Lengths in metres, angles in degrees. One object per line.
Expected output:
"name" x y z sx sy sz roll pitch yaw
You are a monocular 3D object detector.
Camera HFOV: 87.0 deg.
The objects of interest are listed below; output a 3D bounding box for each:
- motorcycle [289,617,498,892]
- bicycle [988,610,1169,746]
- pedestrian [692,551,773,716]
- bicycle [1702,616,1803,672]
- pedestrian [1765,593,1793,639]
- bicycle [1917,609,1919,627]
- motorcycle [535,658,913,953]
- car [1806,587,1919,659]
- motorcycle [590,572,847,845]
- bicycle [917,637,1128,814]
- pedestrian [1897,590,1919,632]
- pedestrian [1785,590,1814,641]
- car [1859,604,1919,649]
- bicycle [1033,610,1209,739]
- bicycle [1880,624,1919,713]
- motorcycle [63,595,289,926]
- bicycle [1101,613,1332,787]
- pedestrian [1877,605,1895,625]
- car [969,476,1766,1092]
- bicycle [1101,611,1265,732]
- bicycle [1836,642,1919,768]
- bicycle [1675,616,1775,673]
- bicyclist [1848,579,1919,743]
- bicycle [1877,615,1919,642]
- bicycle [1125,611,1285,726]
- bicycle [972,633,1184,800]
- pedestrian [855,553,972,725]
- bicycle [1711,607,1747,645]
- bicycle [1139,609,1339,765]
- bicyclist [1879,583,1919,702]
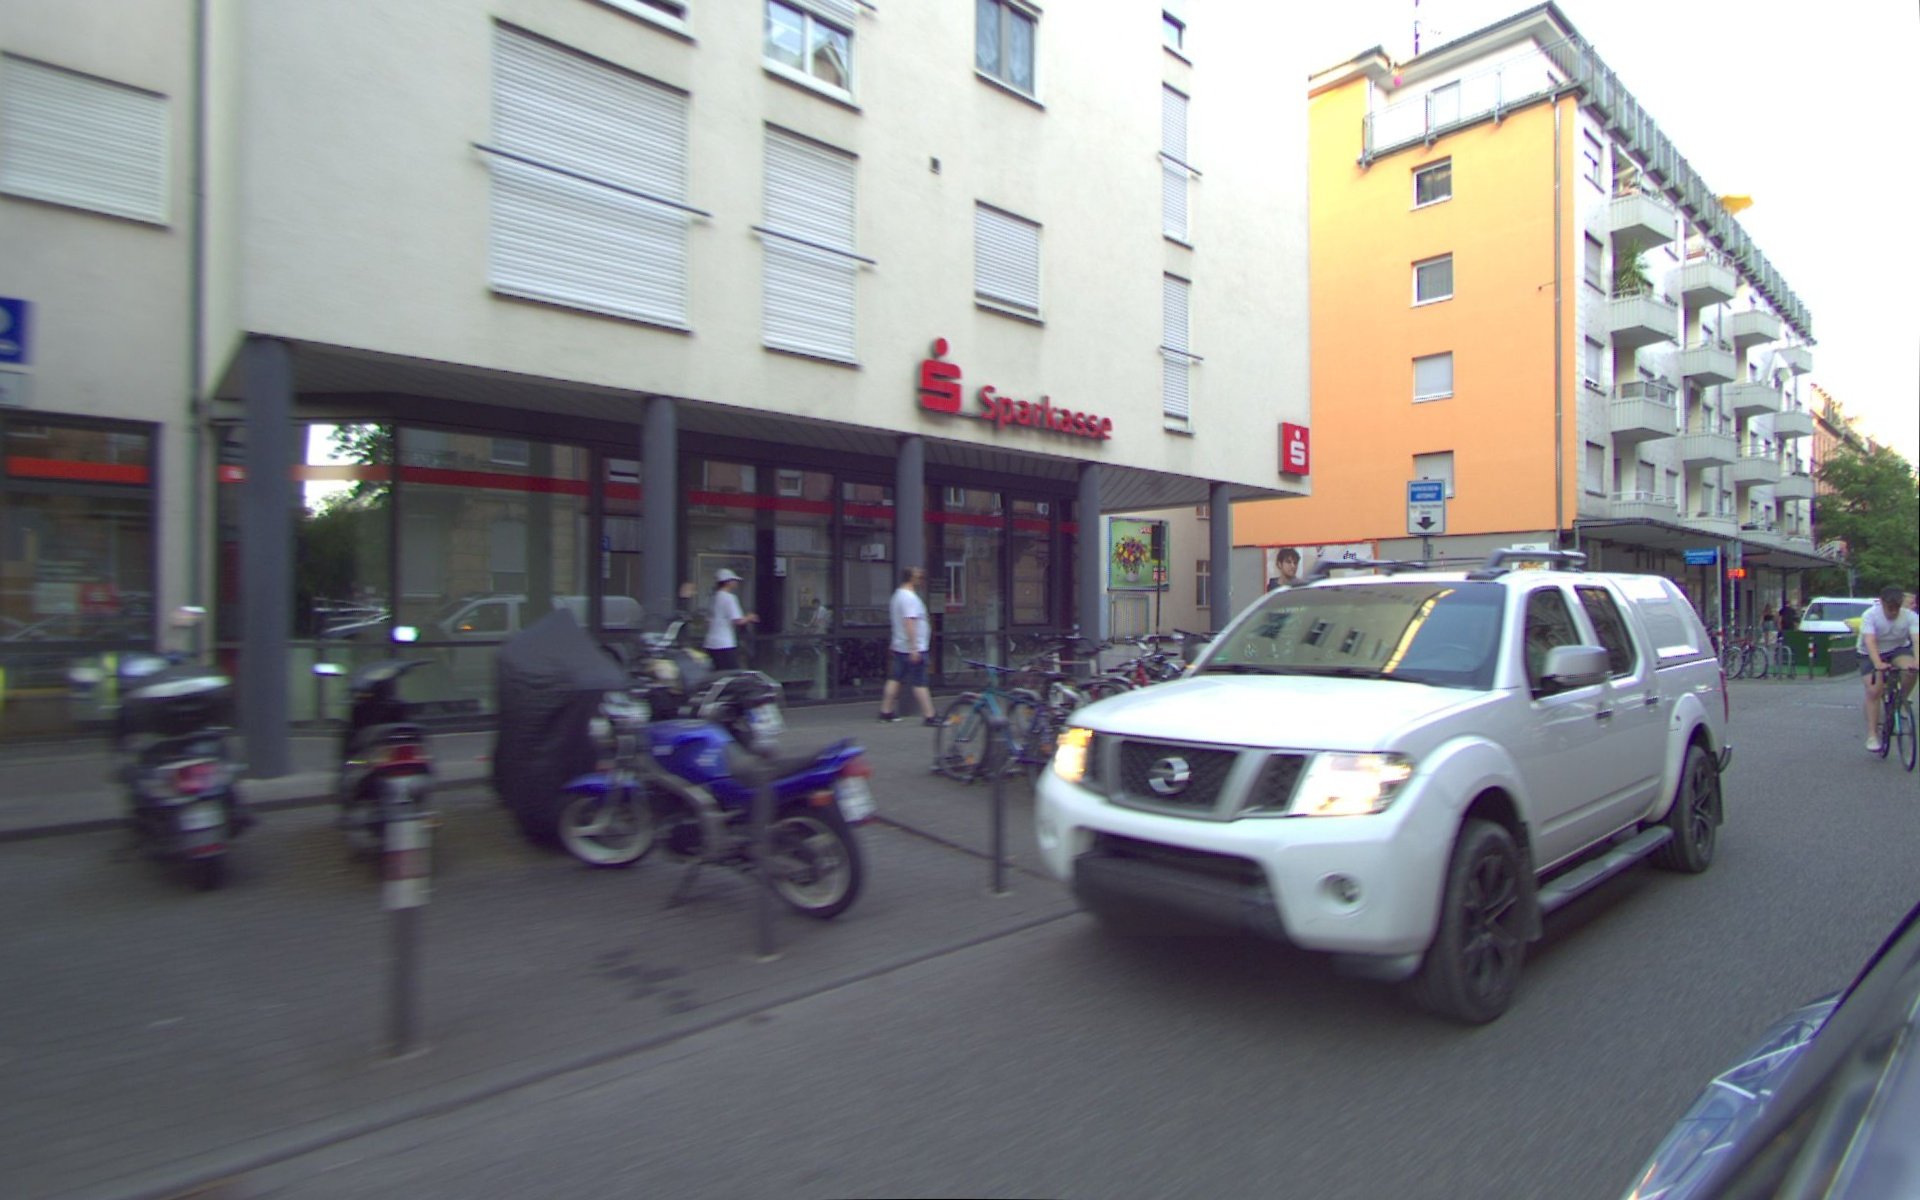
"motorcycle" -3.441 0.784 6.042 0.704 1.259 2.062 1 1 -40
"bicycle" 1.113 0.697 9.801 0.643 1.132 1.724 0 2 -44
"pedestrian" -2.513 0.361 11.152 0.649 1.745 0.665 2 -1 -29
"bicycle" 18.174 0.989 23.273 0.644 1.148 1.947 1 1 -4
"pedestrian" 31.041 0.605 38.377 0.732 1.686 0.709 -1 1 -42
"bicycle" 62.363 1.198 64.901 0.657 1.180 2.101 2 1 21
"motorcycle" -1.260 0.926 5.162 2.050 1.091 0.656 2 1 34
"car" 27.523 0.654 30.802 4.915 1.998 1.962 1 1 -41
"motorcycle" -1.810 0.610 7.182 0.809 1.568 2.498 0 2 -38
"bicycle" 0.425 0.893 7.790 0.555 1.034 1.778 0 4 -38
"pedestrian" 43.061 0.494 45.587 0.741 1.835 1.050 3 -3 -31
"pedestrian" 31.306 0.577 37.730 0.846 1.851 0.709 -1 1 -42
"car" 33.940 0.913 36.820 3.366 1.520 1.594 0 1 -44
"bicycle" 1.606 0.706 10.315 0.643 1.132 1.724 0 2 -44
"bicycle" 13.207 0.907 13.899 0.791 1.154 2.306 -2 -2 43
"motorcycle" -4.272 0.708 5.444 0.705 1.386 2.059 1 1 -44
"bicycle" 2.160 0.782 8.767 0.729 1.196 1.876 0 4 -36
"pedestrian" 61.720 0.999 67.473 0.714 1.322 0.743 0 -1 29
"car" 2.614 0.559 5.540 5.179 1.877 1.913 0 -1 -41
"bicycle" 2.392 0.726 11.032 0.642 1.132 1.727 0 2 -38
"bicycle" 9.098 0.967 9.760 1.883 1.031 0.657 -1 -1 -39
"bicycle" 17.235 0.982 22.862 0.644 1.148 1.947 1 1 -4
"bicyclist" 9.206 0.560 9.859 0.936 1.528 0.650 -1 -1 -39
"bicycle" 38.519 1.149 41.360 0.501 1.014 1.484 0 2 -34
"bicycle" 2.740 0.730 11.487 0.642 1.132 1.727 0 2 -38
"bicycle" 0.904 0.874 8.198 0.655 1.044 1.724 0 4 -38
"pedestrian" -0.501 0.395 10.909 0.909 1.745 0.765 2 0 39
"bicycle" 26.630 0.875 35.070 0.907 1.210 1.690 2 2 35
"bicycle" 2.578 0.753 9.585 0.719 1.196 1.797 0 3 -30
"bicyclist" 13.208 0.576 13.914 0.792 1.592 0.813 -2 -3 43
